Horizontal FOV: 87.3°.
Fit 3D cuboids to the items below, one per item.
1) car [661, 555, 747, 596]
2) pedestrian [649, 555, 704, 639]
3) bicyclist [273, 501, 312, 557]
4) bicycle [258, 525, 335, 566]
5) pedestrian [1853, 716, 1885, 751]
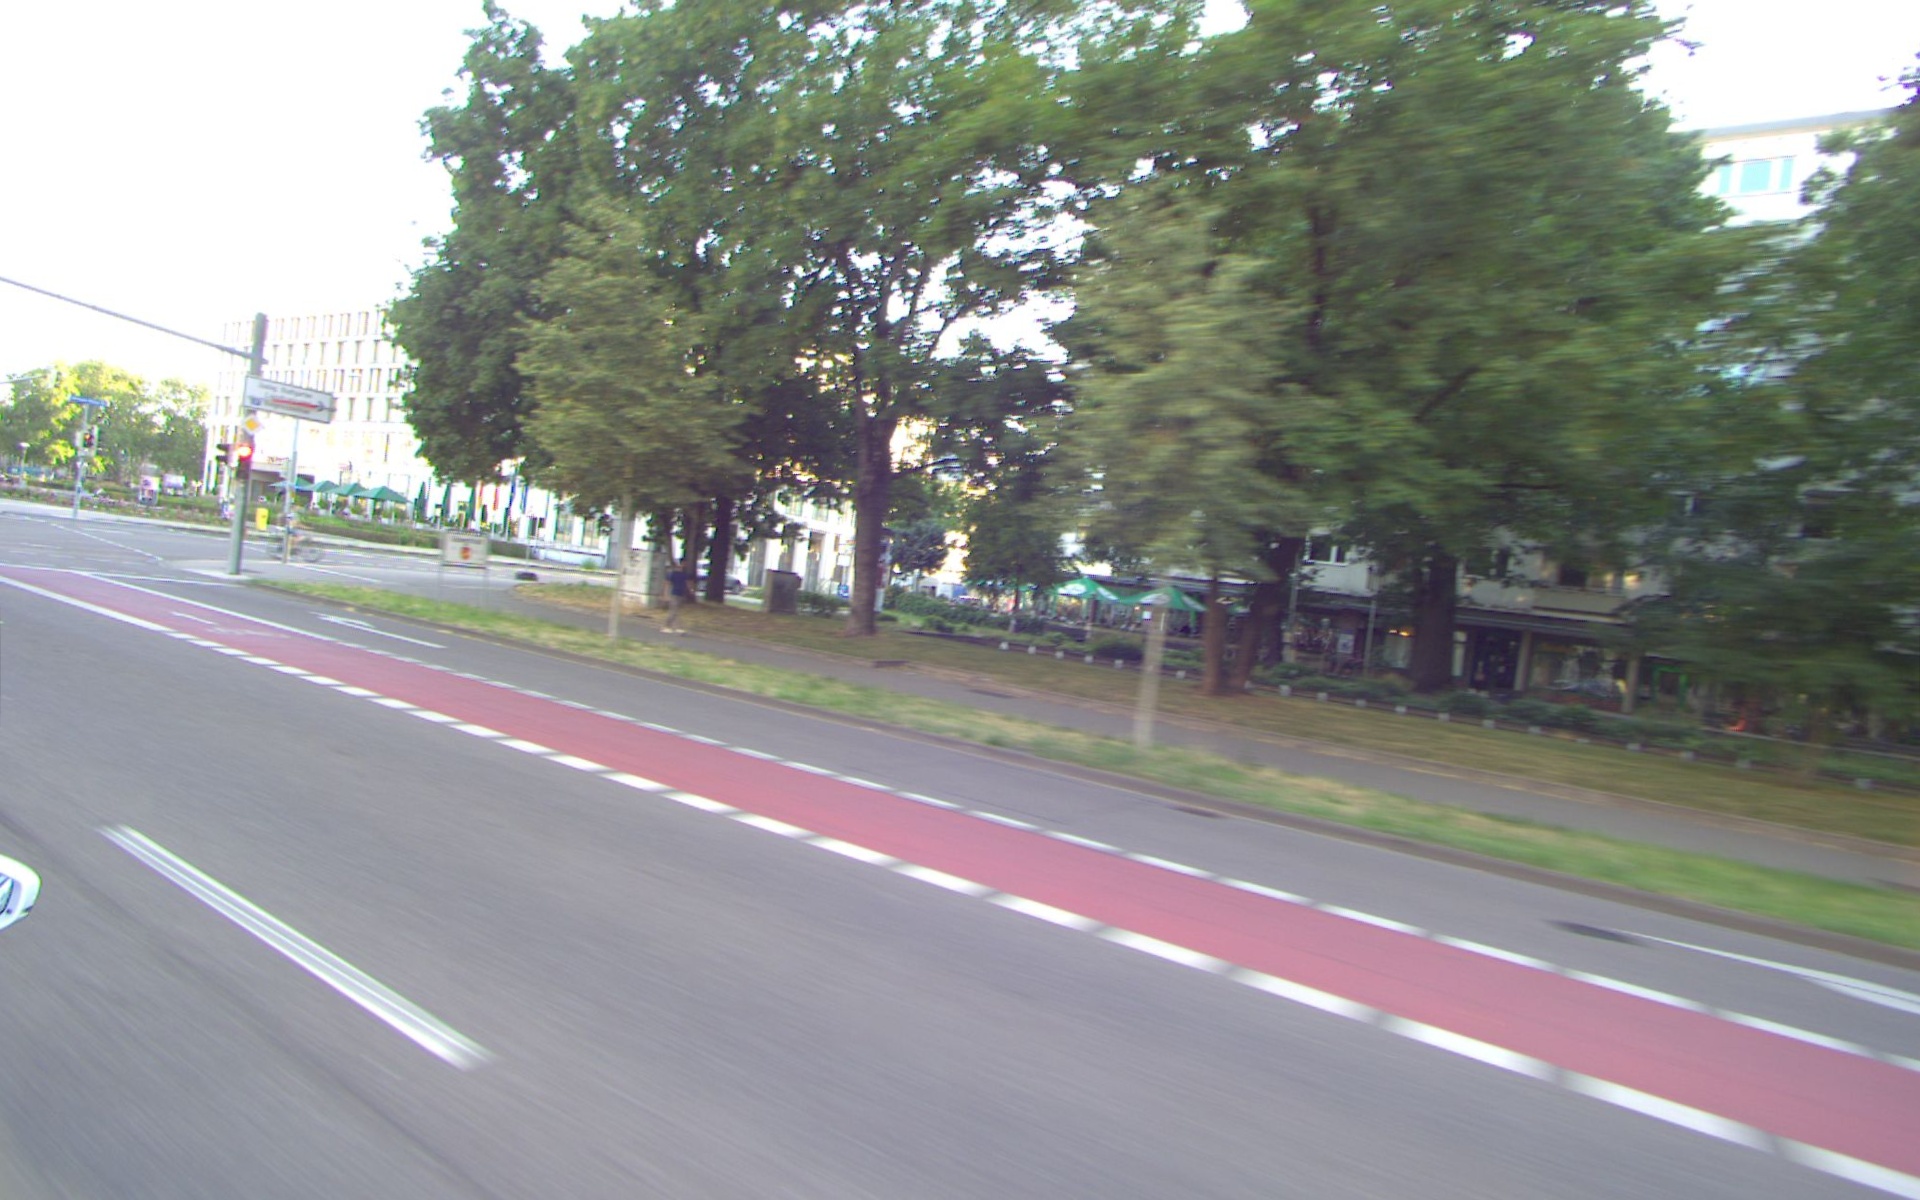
[{"bbox_3d":[-13.813,-1.310,54.509,1.964,1.668,4.544,8,0,25],"label":"car"},{"bbox_3d":[-6.232,-0.061,22.106,0.736,1.714,0.695,7,1,32],"label":"pedestrian"},{"bbox_3d":[-22.033,-2.354,33.226,0.704,1.714,0.746,7,1,36],"label":"bicyclist"},{"bbox_3d":[-21.991,-1.801,33.376,0.719,1.082,1.897,7,-1,36],"label":"bicycle"},{"bbox_3d":[35.189,5.158,38.943,0.689,1.179,0.786,8,1,34],"label":"pedestrian"}]
